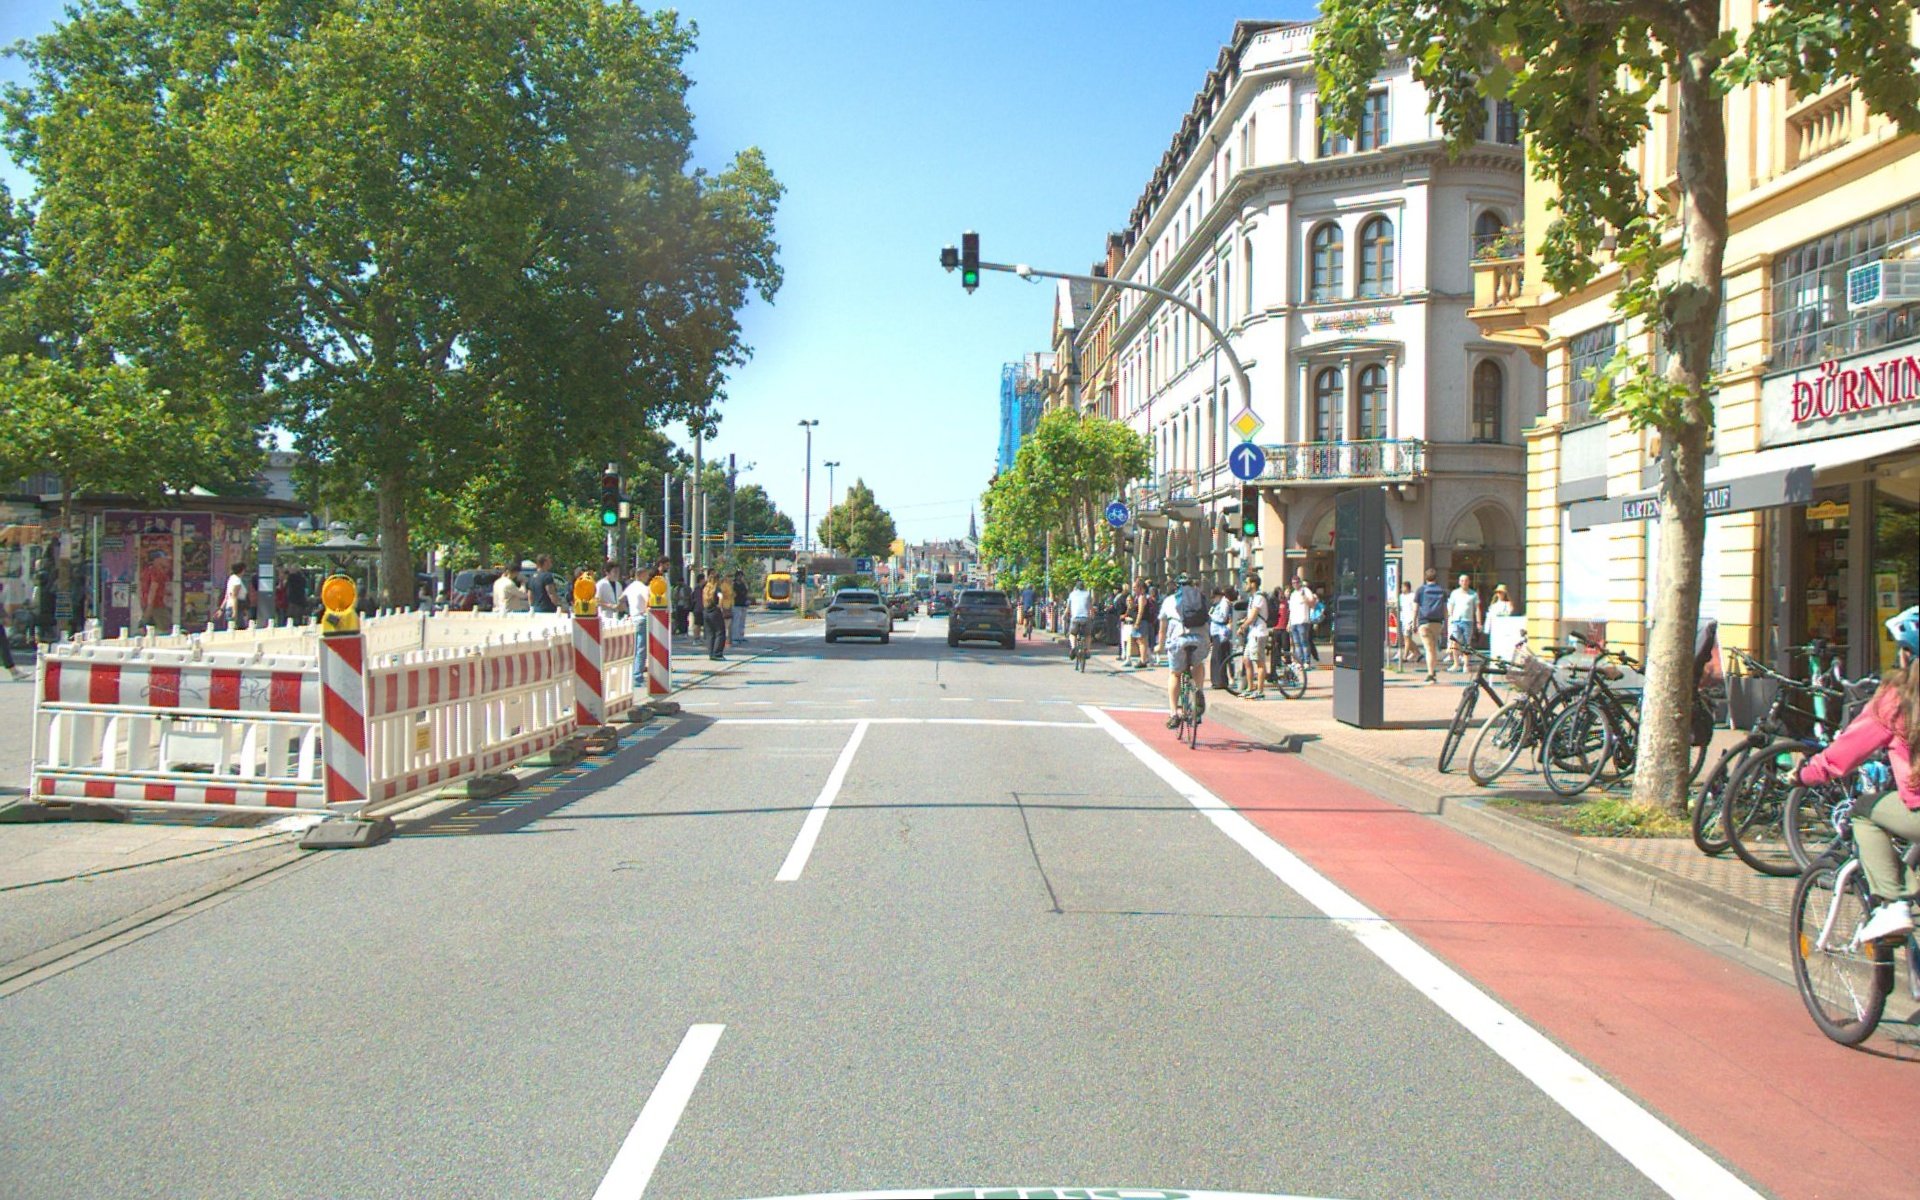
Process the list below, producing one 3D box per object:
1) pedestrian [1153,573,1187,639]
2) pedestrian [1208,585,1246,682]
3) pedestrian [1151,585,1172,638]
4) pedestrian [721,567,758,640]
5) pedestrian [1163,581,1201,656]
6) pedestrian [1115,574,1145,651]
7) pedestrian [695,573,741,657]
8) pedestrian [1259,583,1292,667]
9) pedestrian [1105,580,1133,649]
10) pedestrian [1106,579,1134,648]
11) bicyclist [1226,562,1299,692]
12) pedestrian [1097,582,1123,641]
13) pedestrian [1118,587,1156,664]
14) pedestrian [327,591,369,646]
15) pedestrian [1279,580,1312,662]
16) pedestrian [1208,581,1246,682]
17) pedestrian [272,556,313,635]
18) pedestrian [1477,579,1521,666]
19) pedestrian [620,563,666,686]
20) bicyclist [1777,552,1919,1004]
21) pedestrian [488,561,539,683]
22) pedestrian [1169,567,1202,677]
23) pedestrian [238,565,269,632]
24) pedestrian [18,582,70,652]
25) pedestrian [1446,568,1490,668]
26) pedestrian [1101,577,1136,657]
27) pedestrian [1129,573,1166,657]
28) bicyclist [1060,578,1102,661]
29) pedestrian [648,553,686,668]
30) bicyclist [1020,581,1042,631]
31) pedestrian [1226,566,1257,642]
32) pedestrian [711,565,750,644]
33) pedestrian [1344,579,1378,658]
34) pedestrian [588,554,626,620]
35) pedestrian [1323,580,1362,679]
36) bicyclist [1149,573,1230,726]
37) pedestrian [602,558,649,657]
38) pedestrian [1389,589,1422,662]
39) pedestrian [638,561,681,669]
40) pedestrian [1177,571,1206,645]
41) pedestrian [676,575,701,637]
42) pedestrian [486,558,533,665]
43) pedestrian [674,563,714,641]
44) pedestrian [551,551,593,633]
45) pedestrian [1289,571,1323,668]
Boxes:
[{"bbox_3d":[5.561,0.151,43.766,0.603,1.735,0.671,0,0,-29],"label":"pedestrian"},{"bbox_3d":[4.313,0.530,26.741,0.512,1.548,0.641,-1,0,2],"label":"pedestrian"},{"bbox_3d":[6.987,0.394,57.303,0.615,1.823,0.612,1,0,-1],"label":"pedestrian"},{"bbox_3d":[-5.656,0.086,42.415,0.620,1.866,0.730,1,0,28],"label":"pedestrian"},{"bbox_3d":[5.712,0.474,42.631,0.598,1.836,0.677,-9,0,-3],"label":"pedestrian"},{"bbox_3d":[4.143,0.302,40.367,0.598,1.855,0.677,1,0,-3],"label":"pedestrian"},{"bbox_3d":[-4.731,0.286,32.318,0.619,1.623,0.687,1,0,20],"label":"pedestrian"},{"bbox_3d":[6.228,0.493,32.686,0.512,1.640,0.641,0,0,-1],"label":"pedestrian"},{"bbox_3d":[4.016,0.372,41.781,0.571,1.703,0.605,-2,0,-3],"label":"pedestrian"},{"bbox_3d":[4.095,0.348,42.455,0.571,1.729,0.605,-2,0,-3],"label":"pedestrian"},{"bbox_3d":[4.377,0.379,23.959,0.569,1.828,0.846,-2,1,-35],"label":"bicyclist"},{"bbox_3d":[4.195,0.312,46.212,0.519,1.622,0.611,1,3,25],"label":"pedestrian"},{"bbox_3d":[3.685,0.530,34.450,0.598,1.541,0.677,-3,0,-3],"label":"pedestrian"},{"bbox_3d":[-14.881,0.447,40.217,0.619,1.315,0.731,1,0,20],"label":"pedestrian"},{"bbox_3d":[6.774,0.412,33.369,0.512,1.637,0.641,0,0,-1],"label":"pedestrian"},{"bbox_3d":[4.423,0.519,27.452,0.537,1.659,0.589,-1,0,2],"label":"pedestrian"},{"bbox_3d":[-15.990,-0.106,39.616,0.619,1.842,0.615,-2,-1,19],"label":"pedestrian"},{"bbox_3d":[9.997,0.408,30.678,0.579,1.596,0.547,-1,-1,45],"label":"pedestrian"},{"bbox_3d":[-4.650,0.352,24.247,0.425,1.770,0.600,2,0,-32],"label":"pedestrian"},{"bbox_3d":[3.168,0.544,5.427,0.588,1.381,0.721,1,0,-2],"label":"bicyclist"},{"bbox_3d":[-7.233,0.355,26.803,0.564,1.923,0.653,2,0,1],"label":"pedestrian"},{"bbox_3d":[3.988,0.390,29.295,0.512,1.931,0.641,-1,0,2],"label":"pedestrian"},{"bbox_3d":[-17.339,-0.030,40.595,0.488,1.631,0.498,-1,-1,19],"label":"pedestrian"},{"bbox_3d":[-17.266,0.317,31.165,0.599,1.284,0.611,1,0,25],"label":"pedestrian"},{"bbox_3d":[9.444,0.336,30.760,0.579,1.833,0.547,-1,-1,45],"label":"pedestrian"},{"bbox_3d":[3.605,0.379,37.586,0.598,1.770,0.677,-3,0,-3],"label":"pedestrian"},{"bbox_3d":[4.105,0.332,36.200,0.598,1.790,0.677,-3,0,-3],"label":"pedestrian"},{"bbox_3d":[2.440,0.382,33.374,0.758,1.664,0.851,0,0,-1],"label":"bicyclist"},{"bbox_3d":[-5.053,0.181,28.535,0.521,1.953,0.560,1,0,1],"label":"pedestrian"},{"bbox_3d":[2.281,0.187,53.280,0.634,1.578,0.817,1,0,-1],"label":"bicyclist"},{"bbox_3d":[6.954,0.106,40.841,0.598,1.855,0.677,1,0,-3],"label":"pedestrian"},{"bbox_3d":[-5.394,0.114,38.835,0.619,1.825,0.731,1,0,20],"label":"pedestrian"},{"bbox_3d":[9.442,0.426,38.943,0.598,1.838,0.677,1,0,-3],"label":"pedestrian"},{"bbox_3d":[-9.697,-0.354,45.476,0.665,1.795,0.765,1,0,28],"label":"pedestrian"},{"bbox_3d":[6.567,0.501,28.425,0.537,1.668,0.589,-1,0,2],"label":"pedestrian"},{"bbox_3d":[2.351,0.489,17.039,0.617,1.507,1.198,1,0,-2],"label":"bicyclist"},{"bbox_3d":[-6.545,0.143,32.365,0.619,1.891,0.687,1,0,20],"label":"pedestrian"},{"bbox_3d":[10.380,0.591,38.532,0.529,1.661,0.677,1,0,-3],"label":"pedestrian"},{"bbox_3d":[-5.061,0.256,27.874,0.564,1.788,0.638,1,0,1],"label":"pedestrian"},{"bbox_3d":[5.863,0.204,41.904,0.598,1.838,0.677,1,0,-3],"label":"pedestrian"},{"bbox_3d":[-7.762,0.172,47.319,0.598,1.755,0.677,1,0,-3],"label":"pedestrian"},{"bbox_3d":[-7.596,0.183,27.906,0.572,1.751,0.789,1,2,1],"label":"pedestrian"},{"bbox_3d":[-6.520,0.056,40.529,0.620,1.891,0.730,1,0,28],"label":"pedestrian"},{"bbox_3d":[-8.770,-0.175,37.405,0.619,1.842,0.731,1,0,20],"label":"pedestrian"},{"bbox_3d":[6.739,0.376,32.258,0.512,1.855,0.641,0,0,-1],"label":"pedestrian"}]
